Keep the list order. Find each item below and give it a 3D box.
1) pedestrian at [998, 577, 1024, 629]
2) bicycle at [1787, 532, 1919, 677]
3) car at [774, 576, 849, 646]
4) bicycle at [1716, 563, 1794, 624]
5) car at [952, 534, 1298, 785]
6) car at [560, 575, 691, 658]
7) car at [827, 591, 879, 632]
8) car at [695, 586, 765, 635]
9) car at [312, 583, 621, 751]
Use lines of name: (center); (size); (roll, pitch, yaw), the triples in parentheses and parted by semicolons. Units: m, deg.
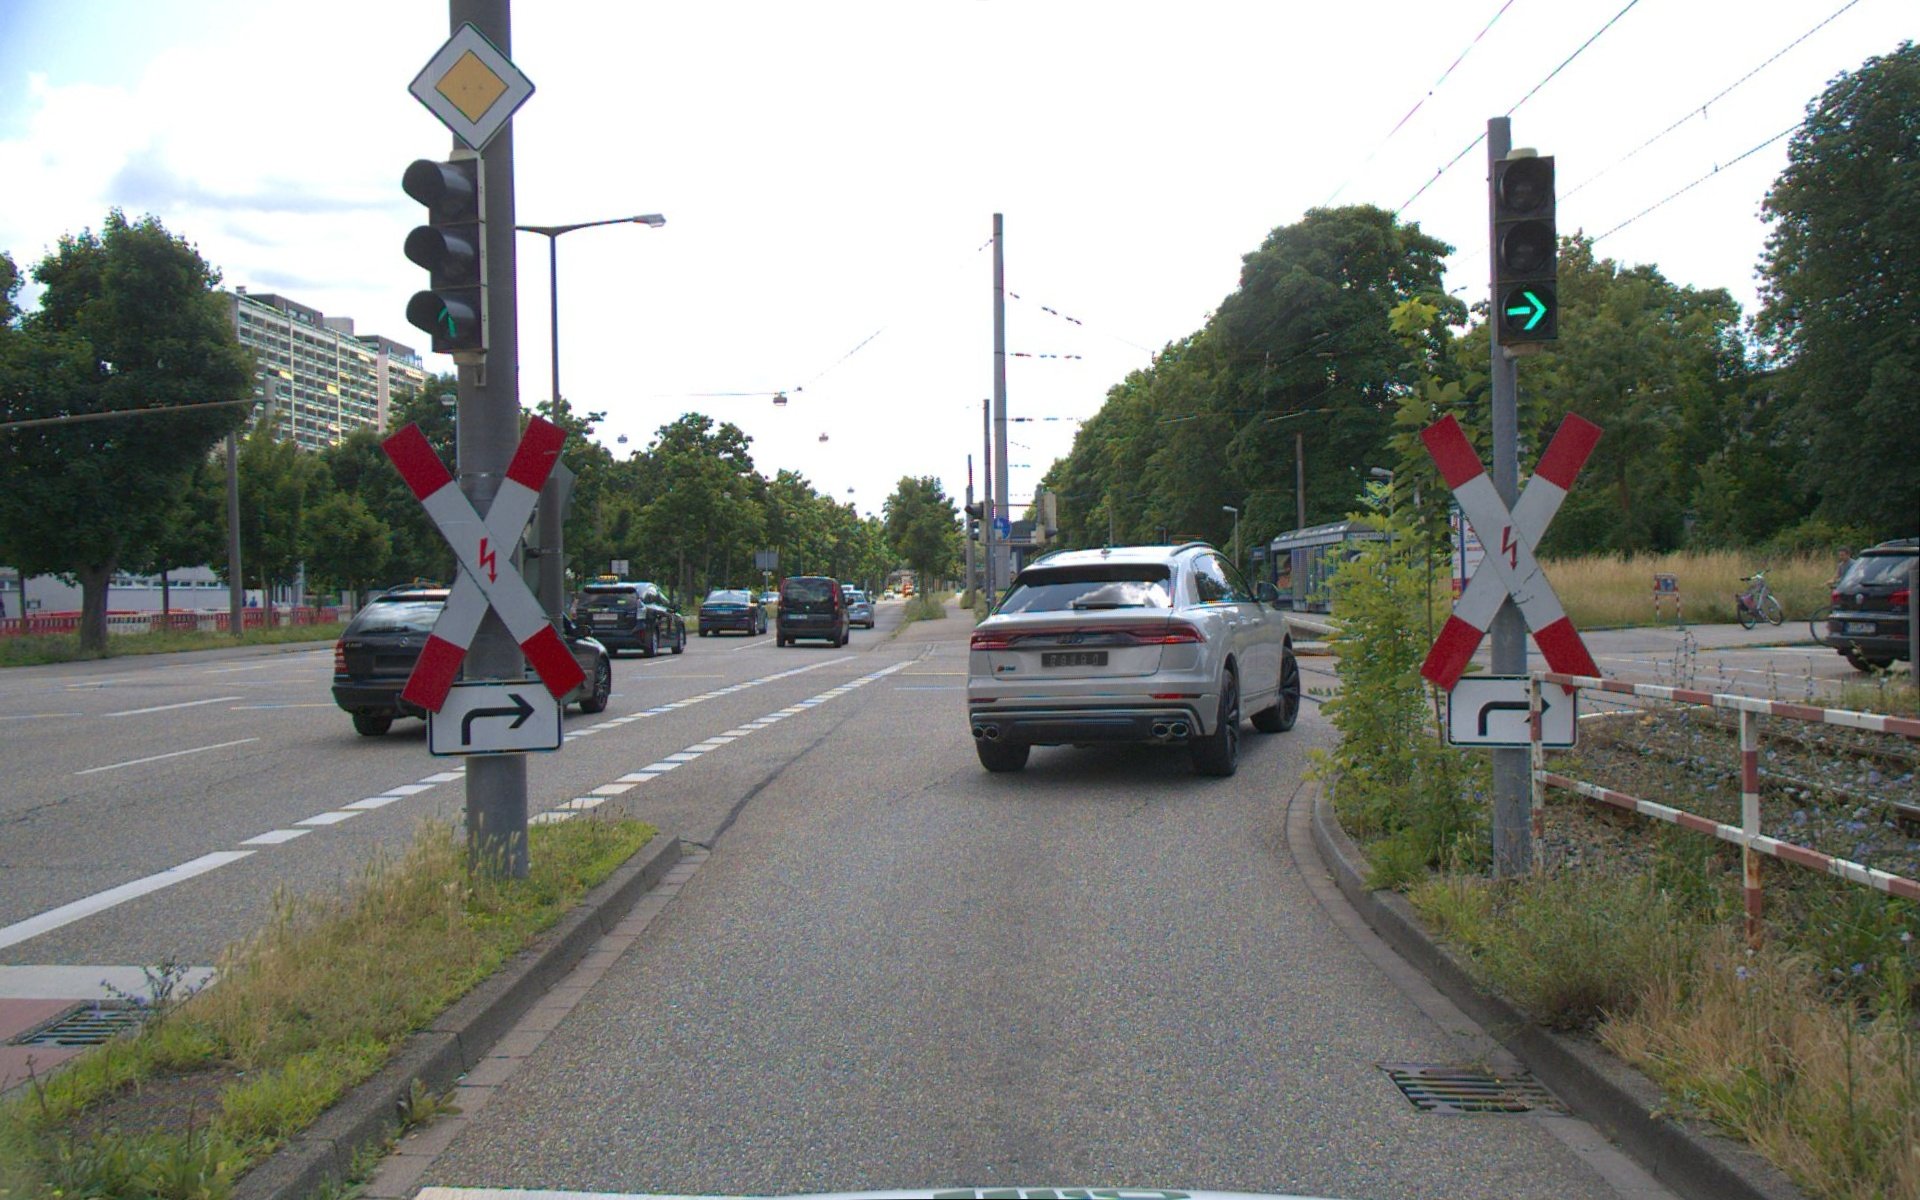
pedestrian: (1.539, 0.095, 49.788); (0.641, 1.540, 0.717); (-1, 0, -8)
bicycle: (12.906, -0.001, 20.788); (4.119, 1.704, 1.995); (-1, 0, -11)
car: (-3.982, 0.271, 44.854); (1.724, 1.808, 3.908); (0, 0, -1)
bicycle: (16.350, -0.137, 34.012); (1.641, 1.152, 0.693); (-4, 2, -34)
car: (1.571, 0.390, 13.757); (1.940, 1.713, 4.577); (-1, 0, 17)
car: (-7.154, 0.331, 35.804); (1.748, 1.697, 4.342); (0, 0, 3)
car: (-4.132, 0.423, 64.553); (1.749, 1.552, 4.301); (0, 0, 0)
car: (-7.407, 0.322, 53.610); (1.826, 1.531, 3.999); (0, 0, -2)
car: (-4.953, 0.595, 17.282); (1.718, 1.491, 4.435); (-1, 0, 2)
